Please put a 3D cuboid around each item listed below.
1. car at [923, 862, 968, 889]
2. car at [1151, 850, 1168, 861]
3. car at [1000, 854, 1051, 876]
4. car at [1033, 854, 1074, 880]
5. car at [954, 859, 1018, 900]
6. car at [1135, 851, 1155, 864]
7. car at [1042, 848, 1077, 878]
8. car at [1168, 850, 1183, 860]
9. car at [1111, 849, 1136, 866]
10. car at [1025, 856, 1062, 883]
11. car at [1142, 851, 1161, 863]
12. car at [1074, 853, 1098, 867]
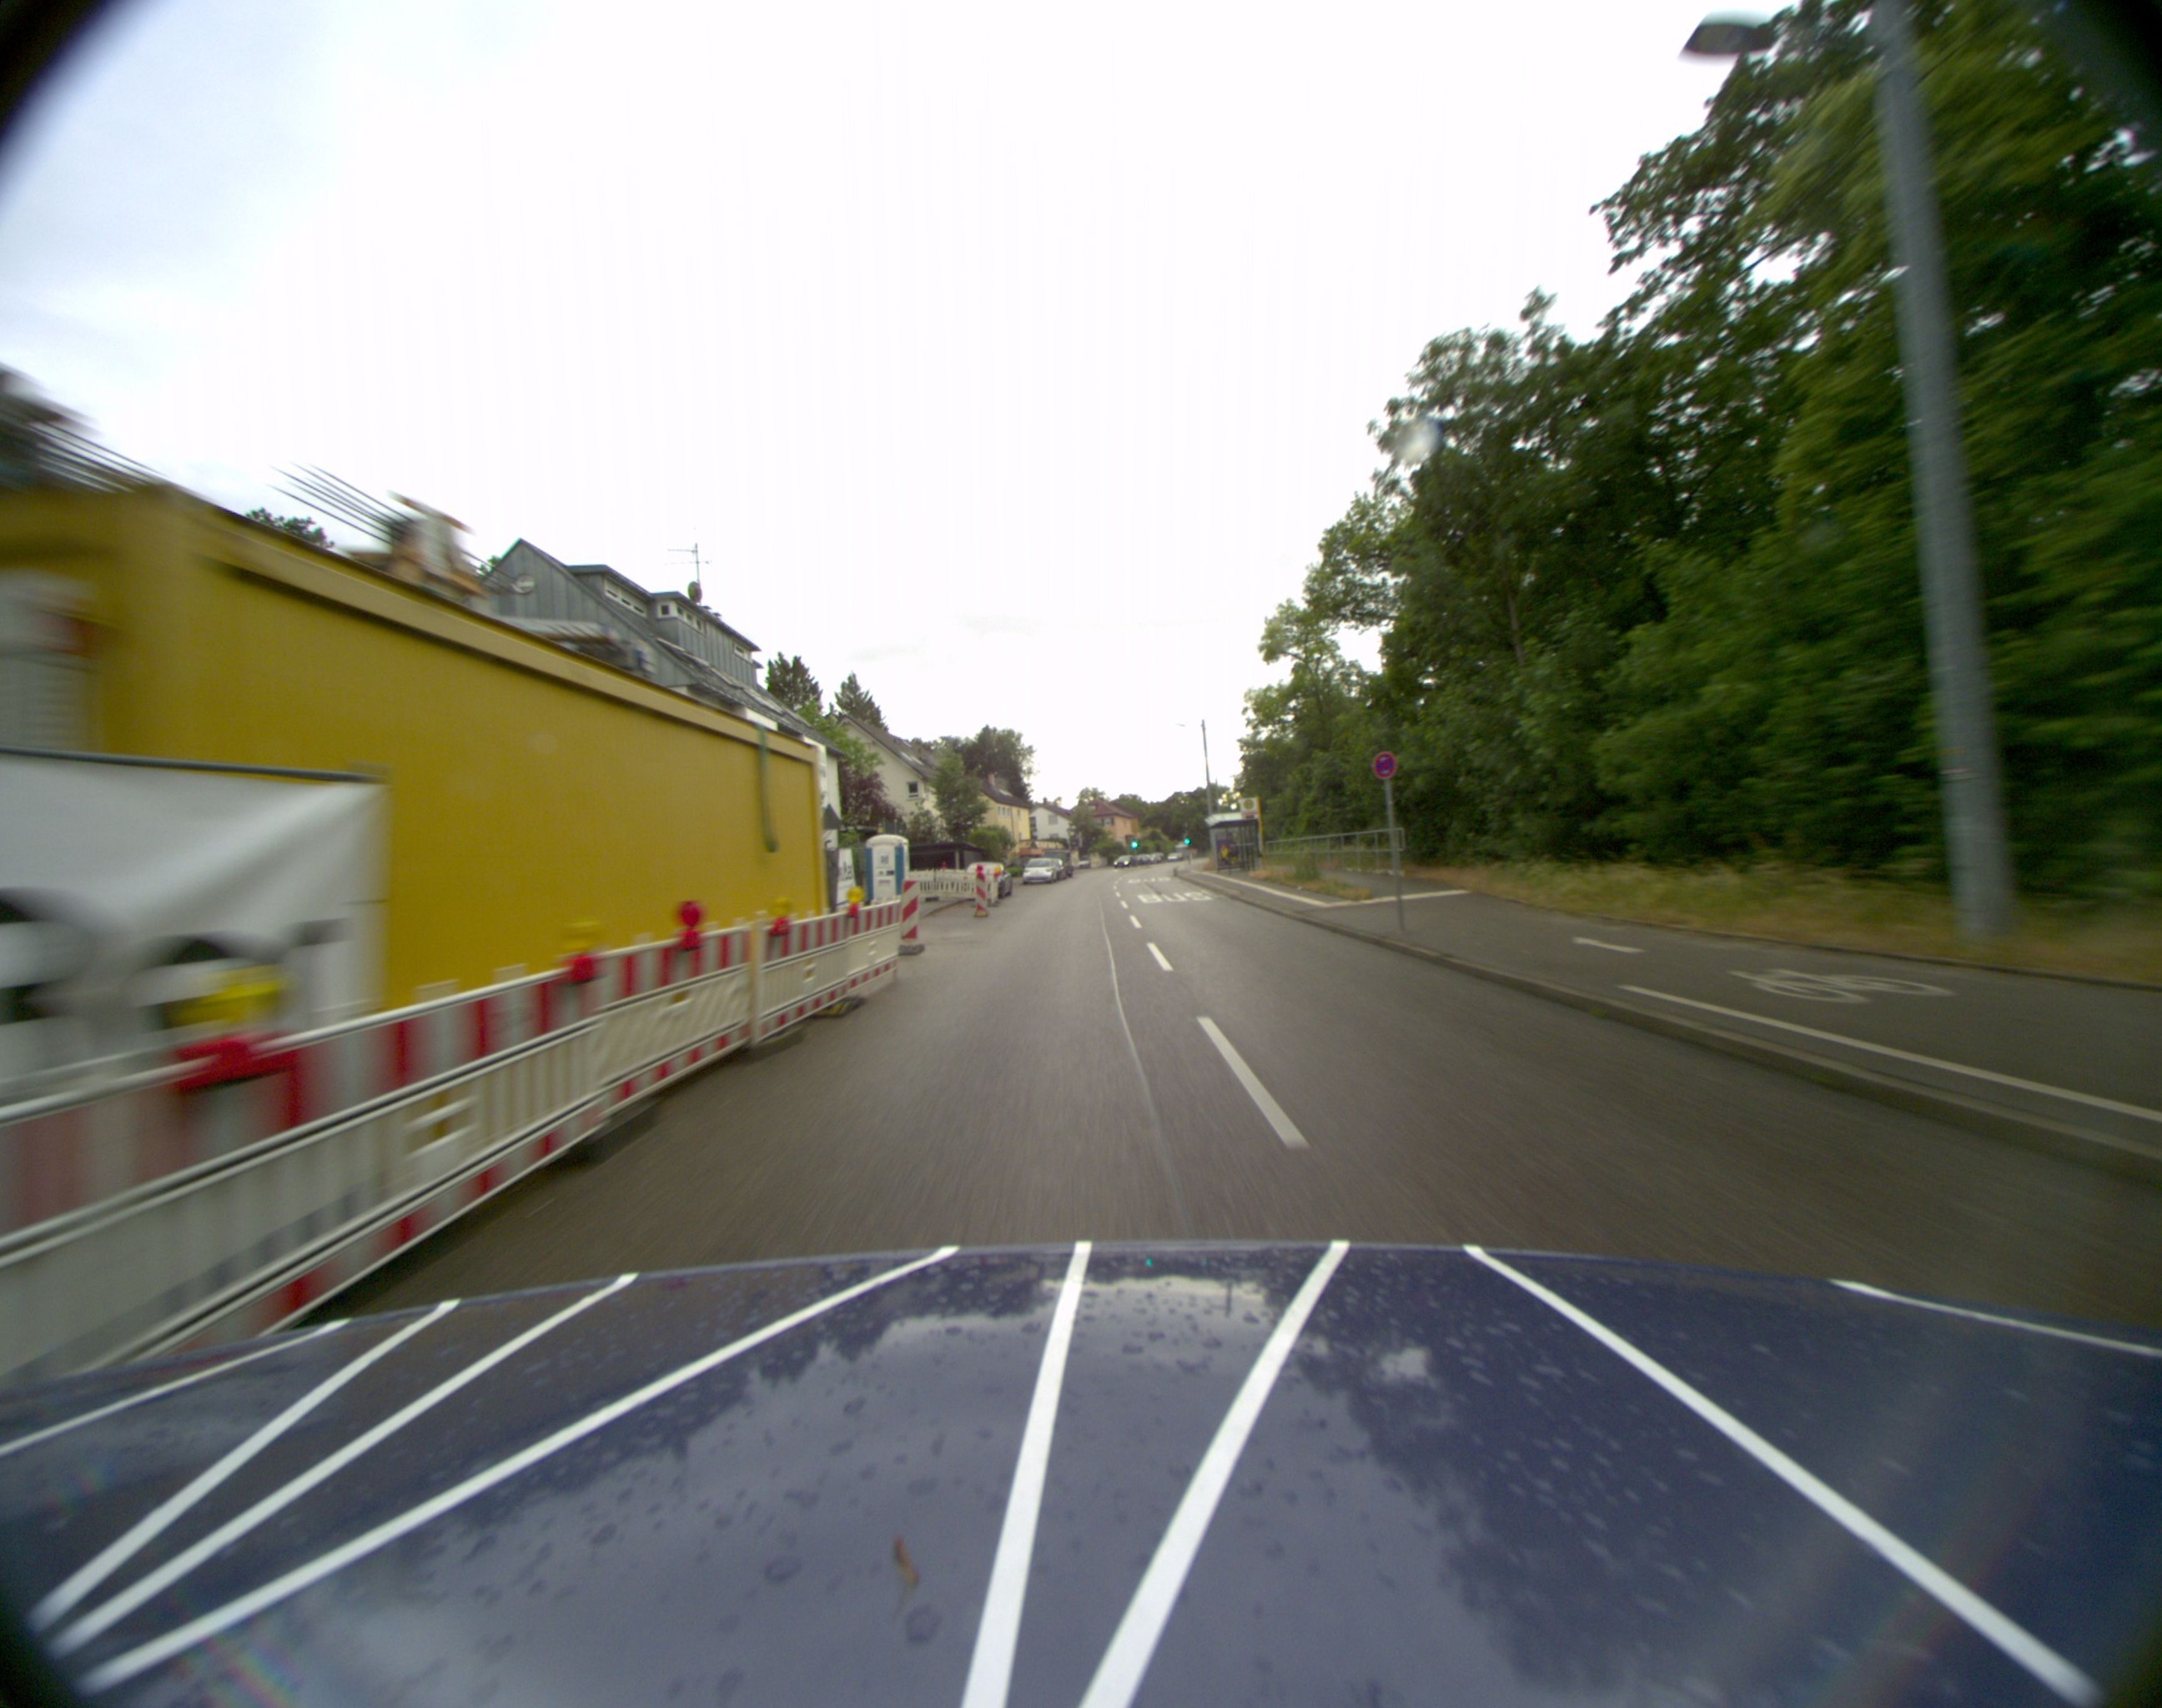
[{"bbox_3d":[-8.198,1.274,46.179,1.739,1.388,4.001,-5,0,3],"label":"car"},{"bbox_3d":[11.817,0.244,114.554,1.732,1.558,4.527,-3,0,16],"label":"car"},{"bbox_3d":[-5.247,1.006,72.281,4.336,1.586,1.993,-6,0,8],"label":"car"},{"bbox_3d":[-1.755,0.810,49.614,1.935,1.587,4.396,-1,1,8],"label":"car"},{"bbox_3d":[-3.750,0.972,30.832,1.937,1.414,4.837,-2,0,0],"label":"car"},{"bbox_3d":[8.717,0.445,103.594,1.754,1.435,4.605,-3,1,16],"label":"car"},{"bbox_3d":[-1.495,0.623,54.684,1.998,2.002,4.958,-1,0,4],"label":"car"},{"bbox_3d":[16.239,0.188,130.171,1.815,1.390,4.107,-3,1,17],"label":"car"},{"bbox_3d":[4.795,0.379,85.365,1.997,1.714,4.004,-3,0,13],"label":"car"},{"bbox_3d":[-2.202,0.869,45.108,1.676,1.449,3.387,-3,0,5],"label":"car"},{"bbox_3d":[10.107,0.435,108.693,1.795,1.478,4.499,-3,1,16],"label":"car"},{"bbox_3d":[0.685,0.772,99.251,1.935,1.587,4.346,-5,0,16],"label":"car"}]
